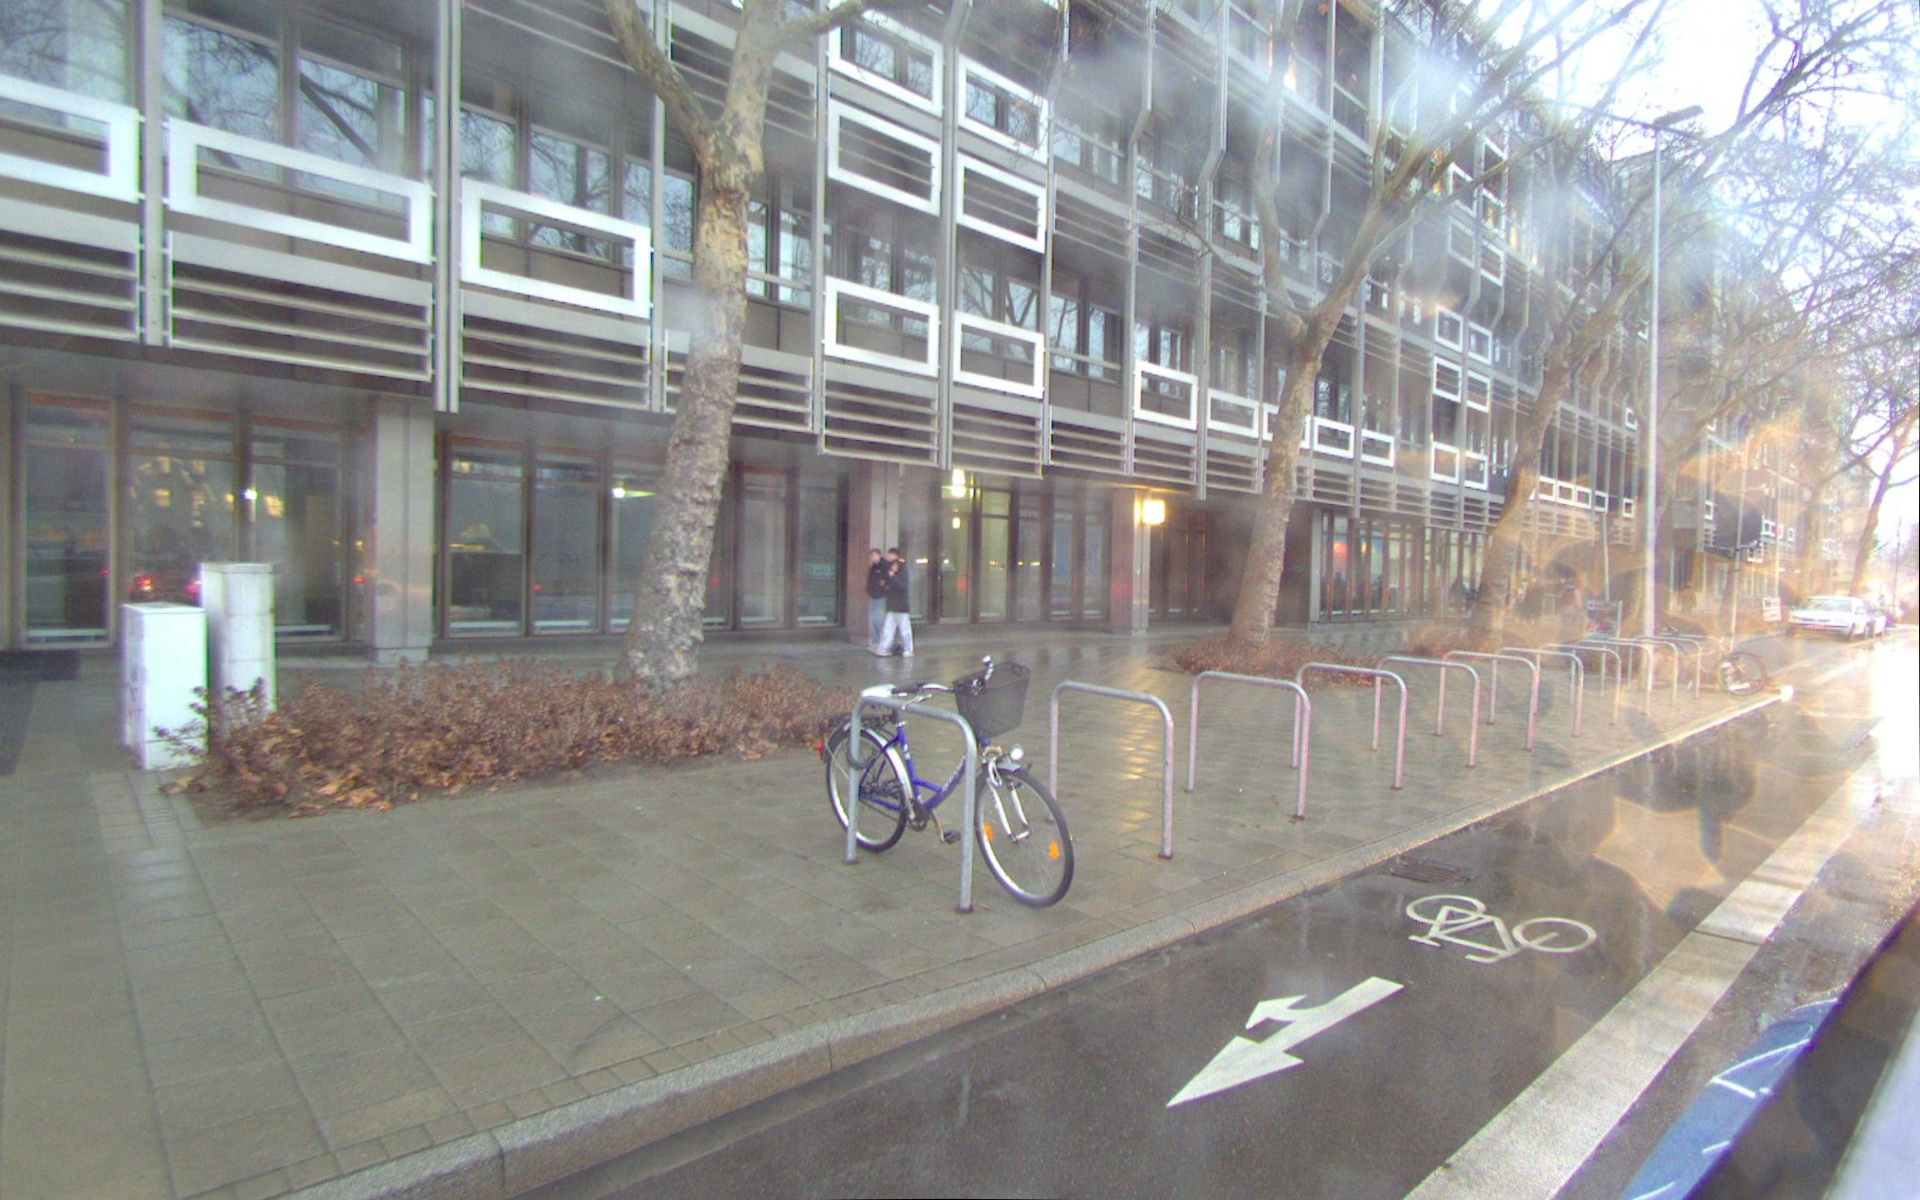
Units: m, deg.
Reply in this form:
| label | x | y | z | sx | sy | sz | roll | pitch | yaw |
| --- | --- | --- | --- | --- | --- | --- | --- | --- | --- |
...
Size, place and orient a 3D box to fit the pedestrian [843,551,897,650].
| label | x | y | z | sx | sy | sz | roll | pitch | yaw |
| --- | --- | --- | --- | --- | --- | --- | --- | --- | --- |
| pedestrian | -1.468 | 0.001 | 16.524 | 0.733 | 1.583 | 0.484 | 0 | 1 | -42 |

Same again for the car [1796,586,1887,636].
| label | x | y | z | sx | sy | sz | roll | pitch | yaw |
| --- | --- | --- | --- | --- | --- | --- | --- | --- | --- |
| car | 29.424 | 0.326 | 33.756 | 3.859 | 1.449 | 1.609 | 0 | 4 | -39 |

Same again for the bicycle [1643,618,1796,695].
| label | x | y | z | sx | sy | sz | roll | pitch | yaw |
| --- | --- | --- | --- | --- | --- | --- | --- | --- | --- |
| bicycle | 11.651 | 0.838 | 15.570 | 0.607 | 0.986 | 1.789 | 0 | 3 | -45 |

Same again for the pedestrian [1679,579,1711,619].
| label | x | y | z | sx | sy | sz | roll | pitch | yaw |
| --- | --- | --- | --- | --- | --- | --- | --- | --- | --- |
| pedestrian | 29.092 | -0.055 | 40.056 | 0.824 | 1.543 | 0.865 | 0 | 2 | -44 |

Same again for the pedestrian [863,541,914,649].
| label | x | y | z | sx | sy | sz | roll | pitch | yaw |
| --- | --- | --- | --- | --- | --- | --- | --- | --- | --- |
| pedestrian | -1.138 | -0.089 | 16.174 | 0.701 | 1.689 | 0.379 | 0 | 1 | -41 |

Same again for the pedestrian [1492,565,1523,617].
| label | x | y | z | sx | sy | sz | roll | pitch | yaw |
| --- | --- | --- | --- | --- | --- | --- | --- | --- | --- |
| pedestrian | 17.764 | -0.301 | 32.837 | 0.767 | 1.677 | 0.617 | 0 | 1 | -41 |

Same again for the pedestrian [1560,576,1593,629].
| label | x | y | z | sx | sy | sz | roll | pitch | yaw |
| --- | --- | --- | --- | --- | --- | --- | --- | --- | --- |
| pedestrian | 18.491 | 0.058 | 30.361 | 0.604 | 1.563 | 0.649 | 0 | 1 | -40 |

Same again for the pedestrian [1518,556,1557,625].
| label | x | y | z | sx | sy | sz | roll | pitch | yaw |
| --- | --- | --- | --- | --- | --- | --- | --- | --- | --- |
| pedestrian | 17.458 | -0.292 | 30.601 | 0.723 | 2.039 | 0.821 | 0 | 1 | -43 |

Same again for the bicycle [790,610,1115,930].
| label | x | y | z | sx | sy | sz | roll | pitch | yaw |
| --- | --- | --- | --- | --- | --- | --- | --- | --- | --- |
| bicycle | -0.116 | 0.694 | 4.842 | 0.428 | 1.162 | 1.752 | 0 | 4 | -44 |

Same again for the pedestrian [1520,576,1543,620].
| label | x | y | z | sx | sy | sz | roll | pitch | yaw |
| --- | --- | --- | --- | --- | --- | --- | --- | --- | --- |
| pedestrian | 18.102 | -0.061 | 32.073 | 0.493 | 1.386 | 0.494 | 2 | 1 | 45 |

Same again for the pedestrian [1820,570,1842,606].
| label | x | y | z | sx | sy | sz | roll | pitch | yaw |
| --- | --- | --- | --- | --- | --- | --- | --- | --- | --- |
| pedestrian | 49.413 | -0.671 | 57.430 | 1.007 | 2.039 | 0.790 | 0 | 1 | -41 |

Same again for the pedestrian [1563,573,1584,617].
| label | x | y | z | sx | sy | sz | roll | pitch | yaw |
| --- | --- | --- | --- | --- | --- | --- | --- | --- | --- |
| pedestrian | 23.663 | -0.188 | 39.027 | 0.636 | 1.675 | 0.834 | 2 | 1 | 31 |

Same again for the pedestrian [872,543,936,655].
| label | x | y | z | sx | sy | sz | roll | pitch | yaw |
| --- | --- | --- | --- | --- | --- | --- | --- | --- | --- |
| pedestrian | -0.866 | -0.032 | 15.739 | 0.858 | 1.689 | 0.501 | 0 | 2 | -41 |

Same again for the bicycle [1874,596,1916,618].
| label | x | y | z | sx | sy | sz | roll | pitch | yaw |
| --- | --- | --- | --- | --- | --- | --- | --- | --- | --- |
| bicycle | 47.002 | 0.344 | 50.874 | 1.518 | 1.049 | 0.462 | 0 | 1 | 42 |

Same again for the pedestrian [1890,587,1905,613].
| label | x | y | z | sx | sy | sz | roll | pitch | yaw |
| --- | --- | --- | --- | --- | --- | --- | --- | --- | --- |
| pedestrian | 73.851 | -0.008 | 79.710 | 0.758 | 2.039 | 0.837 | -1 | 0 | -42 |
